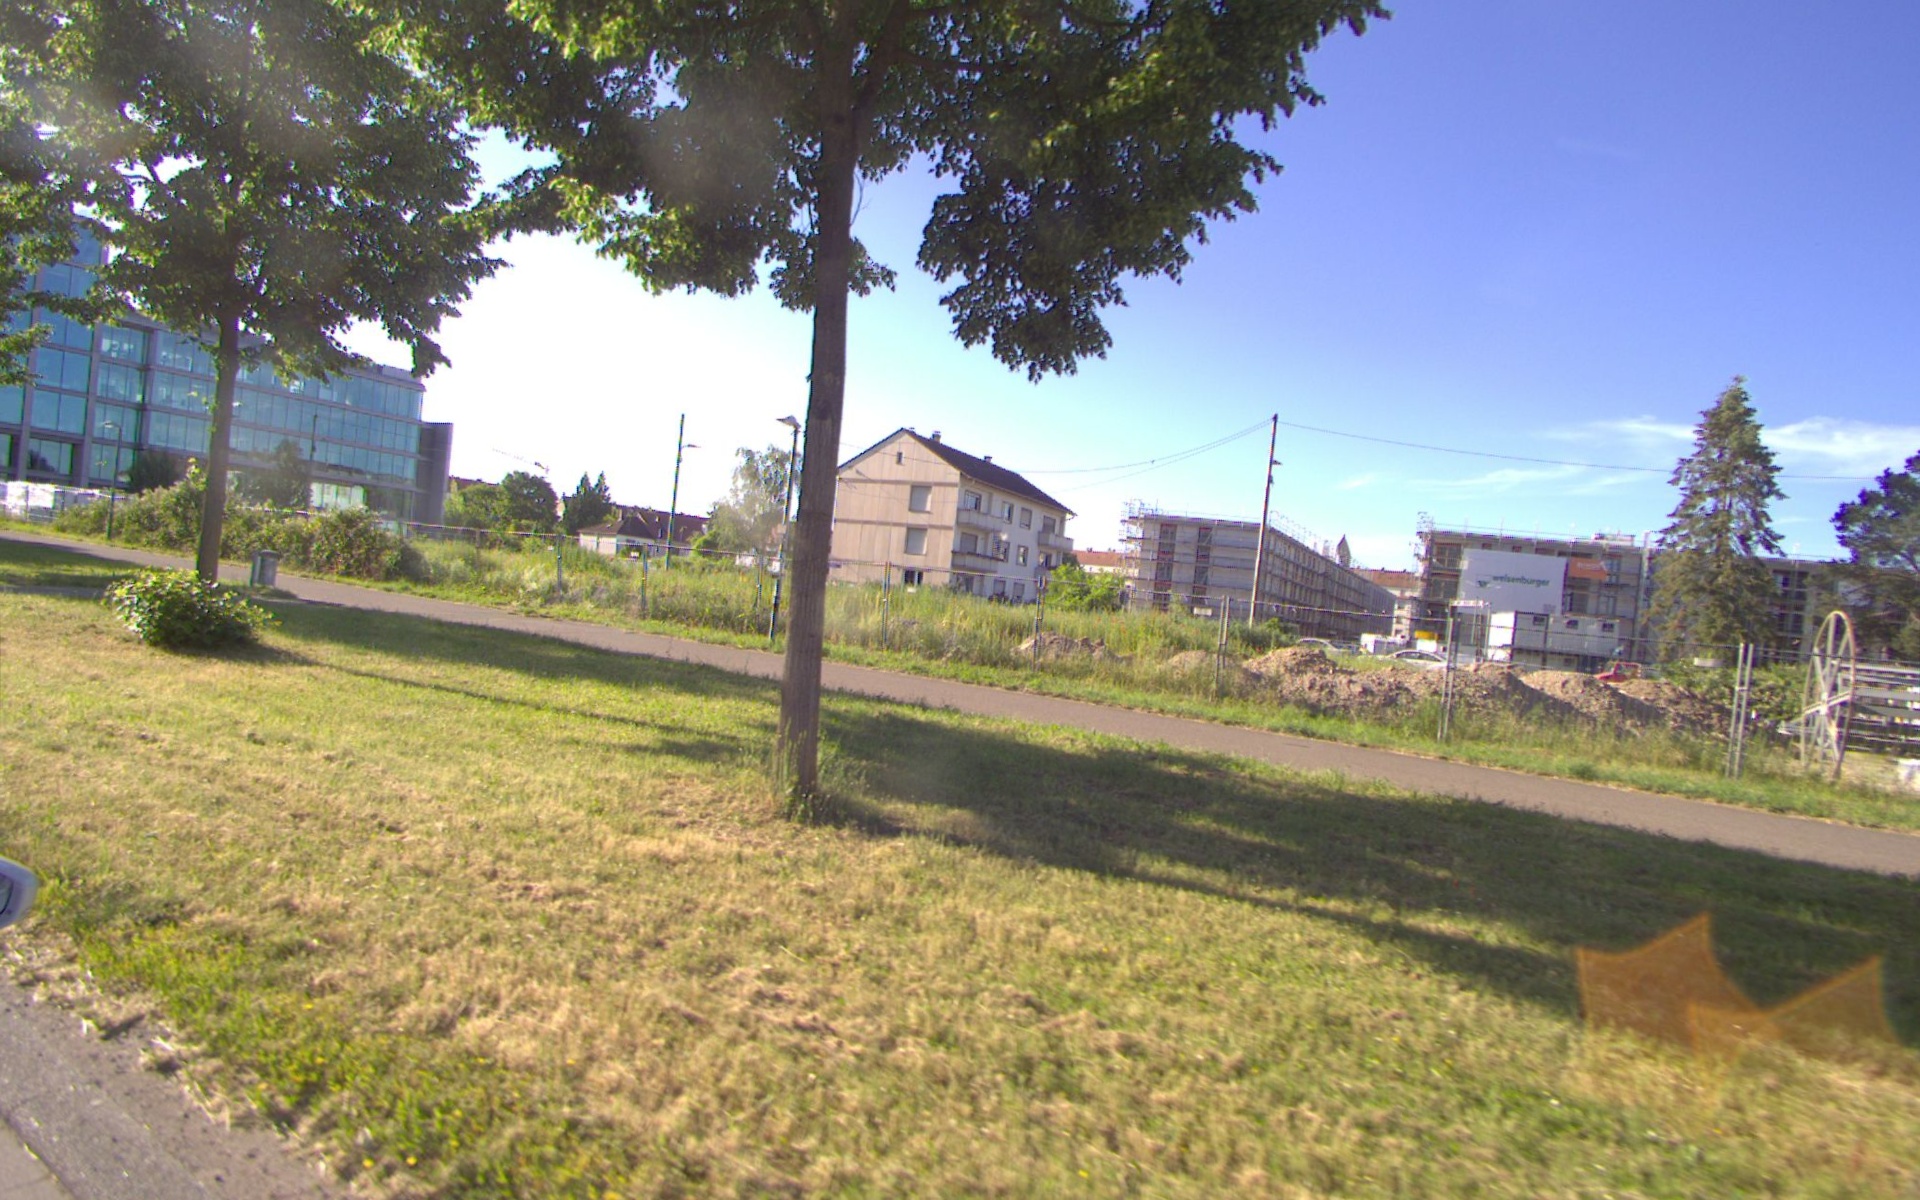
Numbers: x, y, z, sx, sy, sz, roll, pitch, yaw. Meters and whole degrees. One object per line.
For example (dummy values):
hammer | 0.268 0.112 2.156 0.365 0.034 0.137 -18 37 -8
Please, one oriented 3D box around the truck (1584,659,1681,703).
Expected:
truck | 40.508 4.846 60.699 4.351 2.039 1.999 6 0 21

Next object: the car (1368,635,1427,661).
car | 34.082 3.729 78.480 3.924 1.637 1.834 4 -1 15

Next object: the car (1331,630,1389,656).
car | 29.449 3.170 74.187 3.708 1.637 1.701 4 -1 15

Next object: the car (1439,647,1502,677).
car | 34.068 4.142 67.202 3.589 1.637 1.623 4 -1 26
